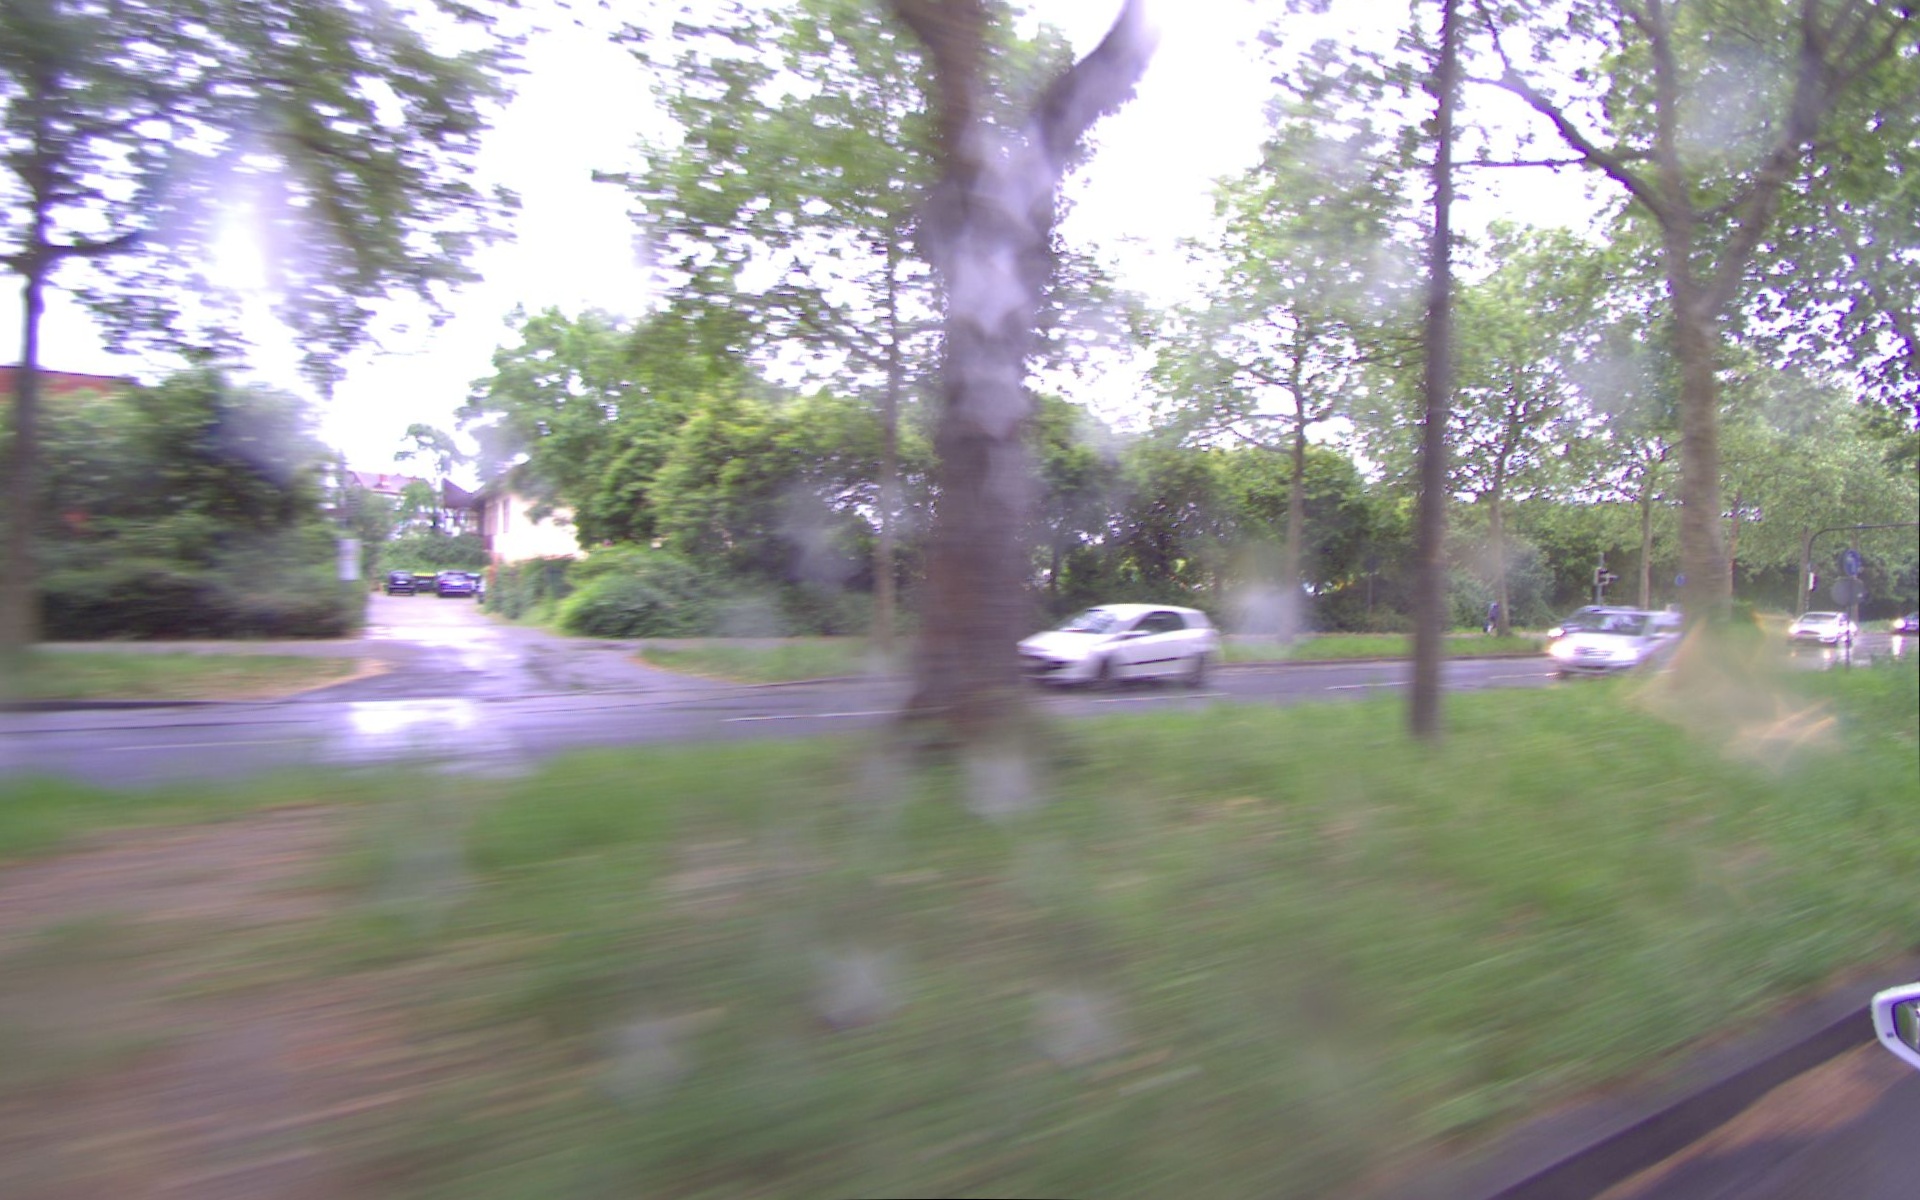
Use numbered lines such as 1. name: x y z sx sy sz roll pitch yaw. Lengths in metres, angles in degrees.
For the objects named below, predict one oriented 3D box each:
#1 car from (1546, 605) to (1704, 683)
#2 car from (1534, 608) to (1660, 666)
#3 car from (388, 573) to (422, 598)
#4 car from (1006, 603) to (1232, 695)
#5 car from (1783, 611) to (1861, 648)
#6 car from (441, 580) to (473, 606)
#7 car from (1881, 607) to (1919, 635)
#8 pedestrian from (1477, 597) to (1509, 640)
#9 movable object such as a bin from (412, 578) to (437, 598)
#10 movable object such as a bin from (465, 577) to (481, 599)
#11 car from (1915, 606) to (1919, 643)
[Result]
1. car: 15.610 0.976 23.500 4.290 1.612 1.730 1 1 -37
2. car: 19.463 1.104 30.648 4.167 1.612 1.732 1 1 -35
3. car: -35.805 -0.946 64.859 1.725 1.587 3.408 1 1 -25
4. car: 3.006 0.855 18.684 4.039 1.496 1.733 1 1 -33
5. car: 38.230 1.281 44.506 4.195 1.496 1.731 1 1 -37
6. car: -32.322 -0.466 64.653 1.725 1.587 4.343 1 1 -25
7. car: 55.136 1.215 58.192 4.191 1.496 1.732 1 1 -34
8. pedestrian: 21.831 0.757 41.161 0.891 1.696 0.825 1 1 -36
9. movable object such as a bin: -35.952 -0.814 67.461 1.333 1.224 1.068 3 0 -24
10. movable object such as a bin: -33.360 -0.811 68.794 0.923 1.467 1.068 2 0 -24
11. car: 50.098 1.262 50.810 5.072 1.866 1.731 1 1 -37
